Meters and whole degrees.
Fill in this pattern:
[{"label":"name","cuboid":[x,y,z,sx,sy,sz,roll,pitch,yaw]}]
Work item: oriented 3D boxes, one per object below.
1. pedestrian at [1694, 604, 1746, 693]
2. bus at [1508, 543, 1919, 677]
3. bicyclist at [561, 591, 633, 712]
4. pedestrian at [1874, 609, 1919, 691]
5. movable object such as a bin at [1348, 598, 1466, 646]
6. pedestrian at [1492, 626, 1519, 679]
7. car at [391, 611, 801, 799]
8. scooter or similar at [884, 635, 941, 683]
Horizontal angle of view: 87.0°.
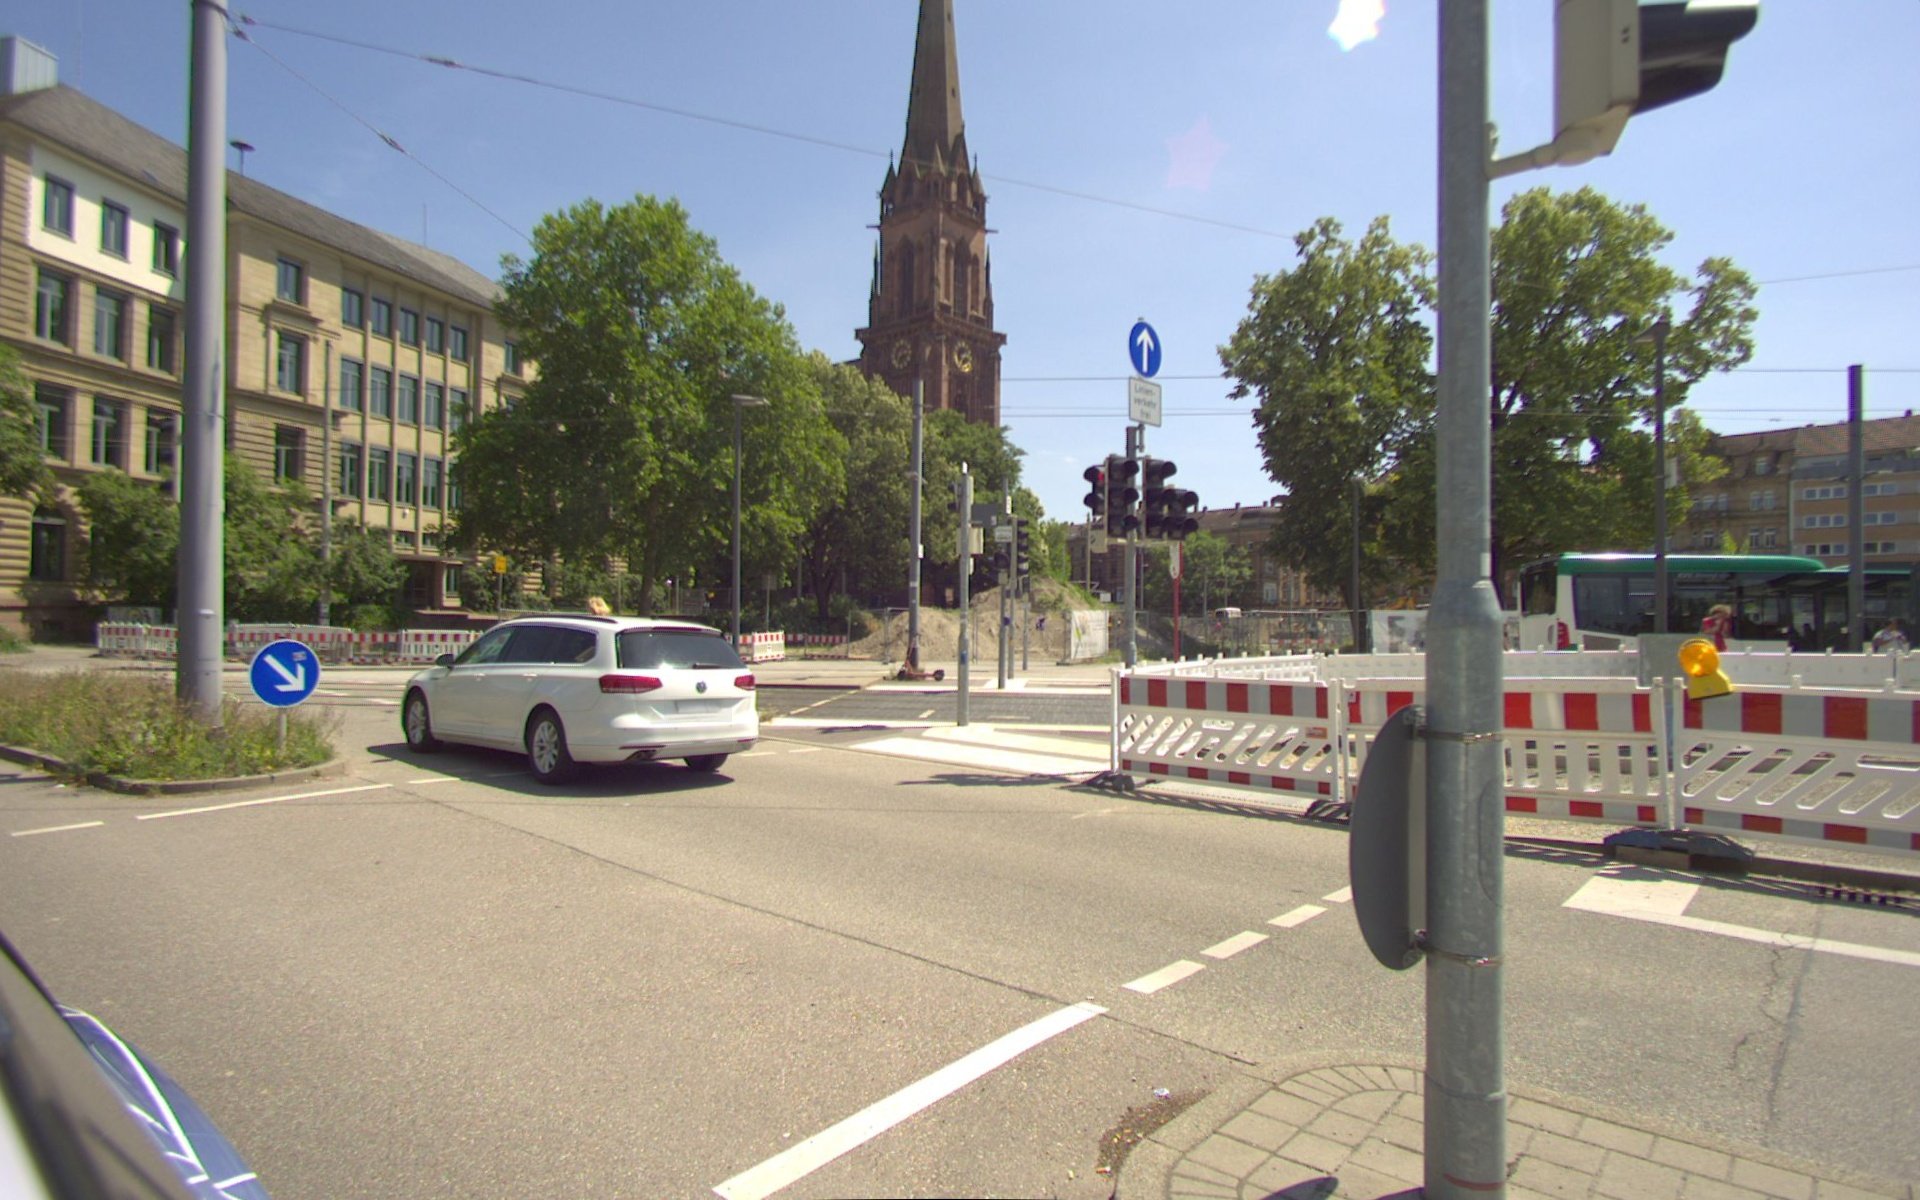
[{"label":"pedestrian","cuboid":[15.057,0.943,20.052,0.556,1.714,0.582,-1,0,-13]},{"label":"bus","cuboid":[19.773,0.243,25.069,10.479,3.076,2.848,-1,0,8]},{"label":"bicyclist","cuboid":[-5.207,0.724,14.525,0.798,1.678,0.580,-1,-3,39]},{"label":"pedestrian","cuboid":[19.412,1.019,20.869,0.539,1.667,0.626,-1,0,2]},{"label":"movable object such as a bin","cuboid":[34.014,1.634,77.153,7.948,3.414,2.878,-1,0,32]},{"label":"pedestrian","cuboid":[16.387,1.582,30.406,0.473,1.553,0.553,-1,0,-13]},{"label":"car","cuboid":[-3.715,0.881,9.940,4.424,1.439,1.797,-1,-4,40]},{"label":"scooter or similar","cuboid":[-1.118,1.375,23.682,1.445,1.068,0.335,-1,0,37]}]
